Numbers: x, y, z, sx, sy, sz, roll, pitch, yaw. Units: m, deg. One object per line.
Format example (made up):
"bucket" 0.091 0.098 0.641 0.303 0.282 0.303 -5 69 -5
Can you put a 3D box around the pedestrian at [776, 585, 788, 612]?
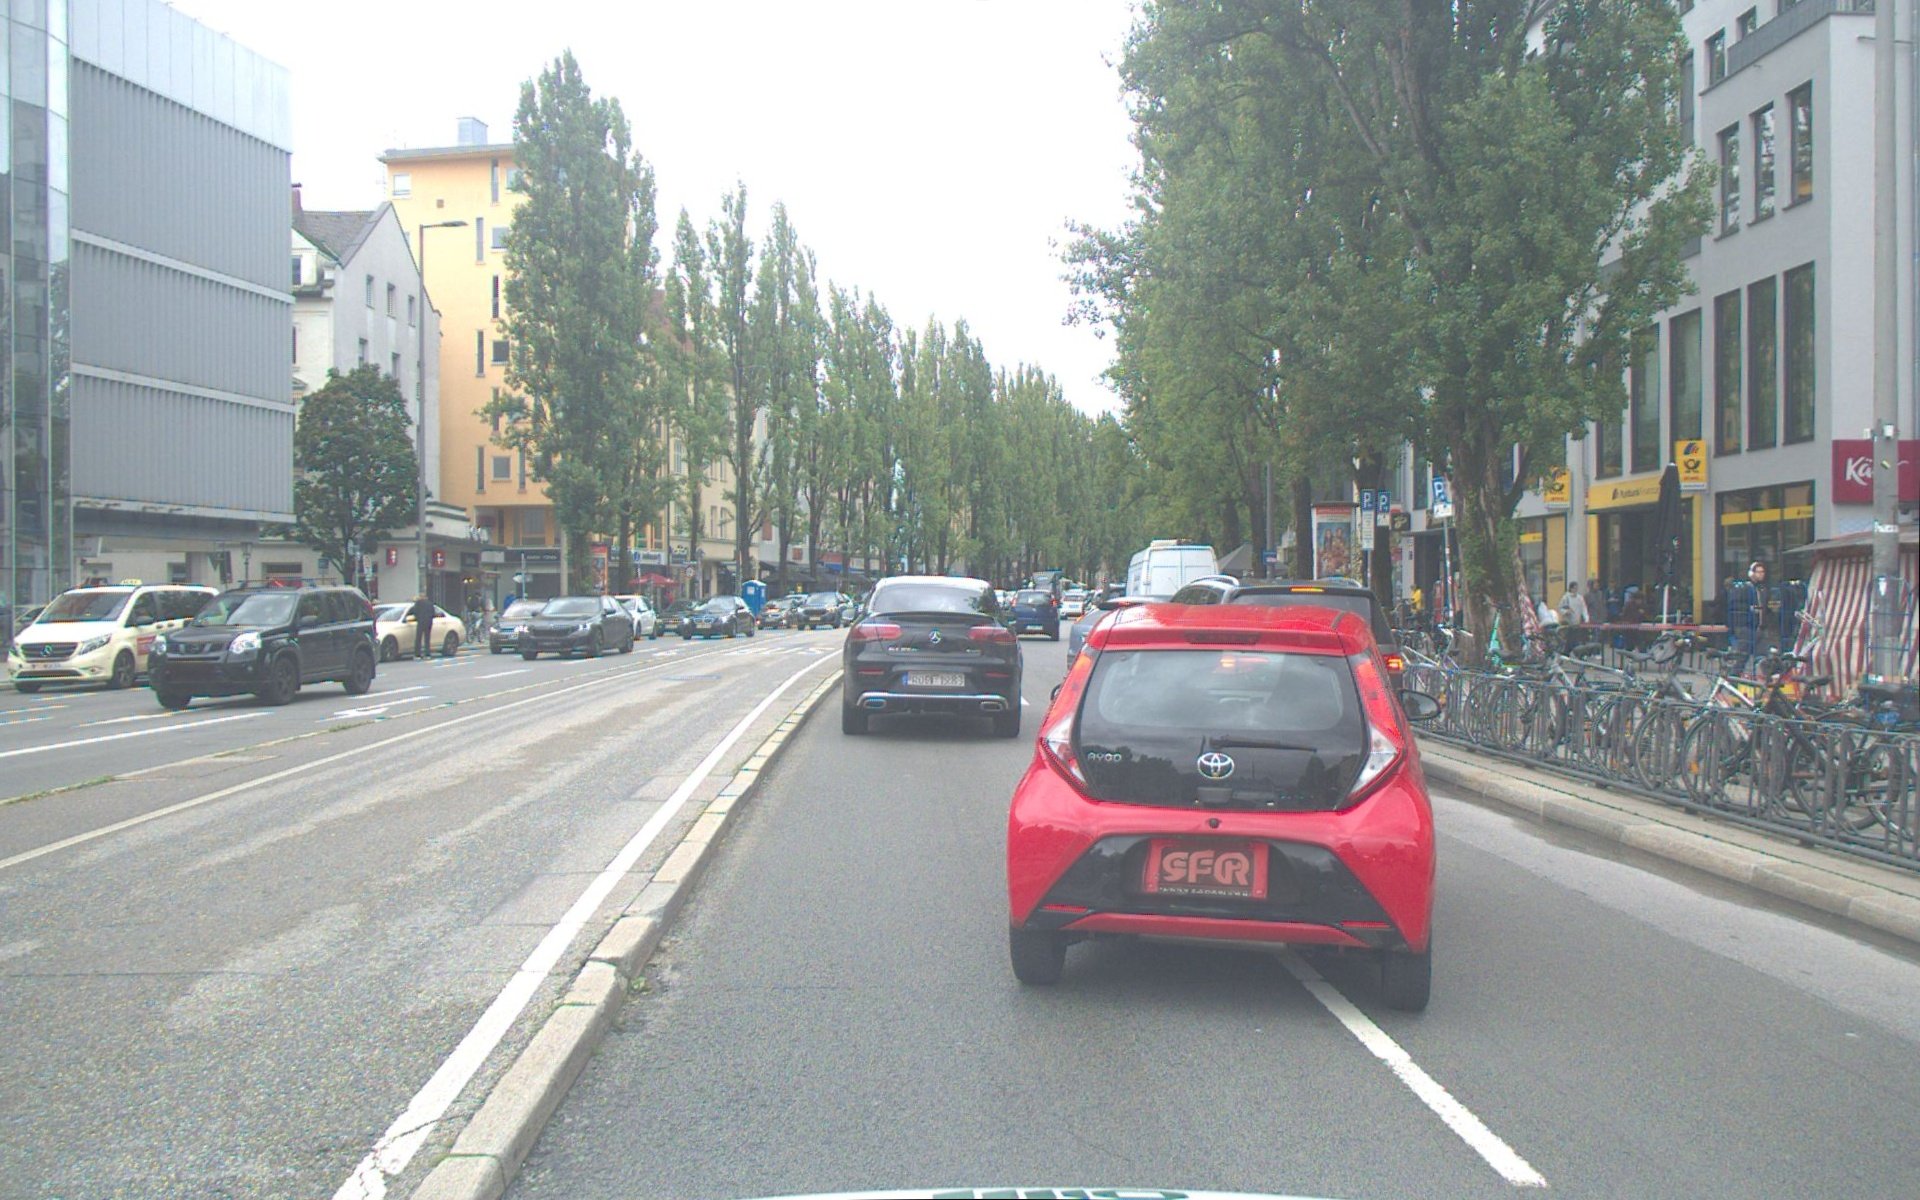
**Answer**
"pedestrian" -12.568 -0.086 116.661 0.624 1.894 0.648 -1 0 11

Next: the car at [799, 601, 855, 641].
"car" -5.841 0.905 73.038 1.952 1.649 4.414 -2 0 2

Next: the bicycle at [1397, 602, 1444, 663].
"bicycle" 9.359 0.645 33.645 0.468 1.180 1.633 0 0 -1

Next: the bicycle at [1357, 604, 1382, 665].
"bicycle" 8.335 0.688 33.641 0.467 1.180 1.826 0 0 15

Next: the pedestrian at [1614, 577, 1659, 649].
"pedestrian" 15.316 0.282 37.480 0.677 1.612 0.772 -1 0 -2

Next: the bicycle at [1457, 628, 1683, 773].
"bicycle" 5.281 0.847 14.391 1.767 1.072 0.366 4 2 37

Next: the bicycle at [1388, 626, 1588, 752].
"bicycle" 5.237 0.858 16.459 1.767 1.072 0.544 4 2 37

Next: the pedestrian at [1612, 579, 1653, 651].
"pedestrian" 14.312 0.324 35.217 0.636 1.502 0.757 0 -1 36

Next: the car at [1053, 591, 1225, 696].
"car" 2.810 0.639 25.432 1.514 1.486 3.430 1 0 27

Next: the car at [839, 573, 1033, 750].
"car" -0.266 0.577 18.197 1.842 1.670 4.582 -1 0 -1

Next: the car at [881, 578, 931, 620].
"car" -3.542 -0.074 109.690 2.123 2.651 6.069 -1 0 10

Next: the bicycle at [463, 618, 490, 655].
"bicycle" -16.444 1.238 56.242 0.360 1.222 1.155 -1 0 12

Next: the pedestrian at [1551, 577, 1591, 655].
"pedestrian" 12.827 0.331 34.712 0.628 1.611 0.635 -1 0 6

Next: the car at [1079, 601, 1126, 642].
"car" 6.389 0.936 73.782 1.884 1.730 4.653 1 0 7

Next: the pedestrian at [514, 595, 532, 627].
"pedestrian" -20.731 0.520 78.454 0.620 1.460 0.778 -1 0 -2

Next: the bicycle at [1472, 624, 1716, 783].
"bicycle" 5.250 0.825 13.753 1.767 1.124 0.544 4 2 37

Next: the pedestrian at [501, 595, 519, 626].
"pedestrian" -21.336 0.509 78.411 0.620 1.460 0.778 -1 0 -2

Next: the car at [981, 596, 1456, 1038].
"car" 1.286 0.752 7.548 1.629 1.471 3.599 1 0 13

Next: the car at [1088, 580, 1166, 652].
"car" 4.561 0.407 45.651 1.889 1.836 4.781 1 0 3

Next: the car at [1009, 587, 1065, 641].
"car" 2.481 0.451 53.763 1.723 1.648 3.747 1 0 2

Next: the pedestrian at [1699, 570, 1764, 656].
"pedestrian" 15.408 0.251 33.047 0.783 1.665 1.023 -1 0 -2

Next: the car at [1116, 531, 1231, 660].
"car" 4.929 -0.085 38.916 1.953 2.789 5.554 1 0 0

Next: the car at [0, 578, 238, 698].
"car" -15.959 0.653 31.506 1.952 2.049 5.322 -1 0 1

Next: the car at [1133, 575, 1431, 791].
"car" 2.691 0.627 14.757 1.725 1.642 4.182 0 0 -2

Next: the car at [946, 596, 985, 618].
"car" 0.408 0.452 112.966 1.761 1.419 4.695 -1 0 11

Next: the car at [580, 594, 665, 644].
"car" -11.669 0.614 57.452 1.952 1.628 4.290 -1 0 1

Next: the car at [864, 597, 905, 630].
"car" -3.954 0.687 87.256 1.780 1.572 4.001 -3 0 2

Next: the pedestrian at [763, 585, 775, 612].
"pedestrian" -13.468 -0.097 116.669 0.624 1.894 0.648 -1 0 11

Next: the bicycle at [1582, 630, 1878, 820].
"bicycle" 5.387 0.838 11.637 1.767 1.124 0.544 4 2 37

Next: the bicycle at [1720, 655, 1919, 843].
"bicycle" 5.702 0.927 10.195 1.767 1.028 0.384 4 2 37

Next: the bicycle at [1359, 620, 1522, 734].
"bicycle" 5.161 0.806 17.801 1.545 1.072 0.544 4 2 37

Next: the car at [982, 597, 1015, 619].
"car" 2.908 0.584 123.868 1.869 1.631 4.359 -1 0 10

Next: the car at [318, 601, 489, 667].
"car" -14.527 0.847 43.537 1.817 1.495 4.986 -3 0 14

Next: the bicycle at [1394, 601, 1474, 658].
"bicycle" 10.049 0.626 35.097 1.593 1.180 0.705 0 0 11

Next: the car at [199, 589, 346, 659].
"car" -21.453 0.687 51.846 1.951 2.049 5.116 -1 0 7

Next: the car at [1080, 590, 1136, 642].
"car" 5.074 0.532 57.057 1.691 1.716 4.409 0 0 2

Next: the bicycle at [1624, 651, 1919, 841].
"bicycle" 5.378 0.925 10.933 1.770 1.028 0.384 5 2 41

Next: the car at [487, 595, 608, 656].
"car" -11.702 0.688 47.255 1.918 1.573 4.950 -1 0 3

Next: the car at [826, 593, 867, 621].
"car" -6.563 0.391 96.002 1.912 1.617 4.001 -1 0 3

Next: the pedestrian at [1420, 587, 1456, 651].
"pedestrian" 13.286 0.514 45.964 0.707 1.754 0.737 -1 0 36

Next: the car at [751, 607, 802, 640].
"car" -8.891 1.135 80.296 1.746 1.491 4.002 -1 0 4

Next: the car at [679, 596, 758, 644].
"car" -8.294 0.652 57.226 1.797 1.513 4.736 -1 0 3

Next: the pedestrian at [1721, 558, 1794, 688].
"pedestrian" 11.448 0.325 23.757 0.776 1.827 0.572 1 -1 4

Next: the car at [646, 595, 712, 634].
"car" -11.024 0.557 65.219 1.693 1.433 4.688 -1 0 1

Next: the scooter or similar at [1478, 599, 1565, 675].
"scooter or similar" 9.452 0.607 27.818 1.443 1.228 0.398 -1 0 -20

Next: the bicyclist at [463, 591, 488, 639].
"bicyclist" -16.468 0.502 56.238 0.491 1.620 0.835 -1 0 11

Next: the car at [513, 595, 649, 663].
"car" -9.312 0.676 41.089 1.952 1.534 5.024 -1 0 3

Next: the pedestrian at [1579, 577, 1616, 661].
"pedestrian" 13.428 0.396 34.864 0.567 1.731 0.597 -1 0 6

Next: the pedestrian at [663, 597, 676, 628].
"pedestrian" -16.706 0.712 95.061 0.527 1.777 0.756 0 0 11

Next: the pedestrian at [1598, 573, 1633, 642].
"pedestrian" 16.202 0.188 40.903 0.676 1.678 0.799 -1 0 14

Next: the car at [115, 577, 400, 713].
"car" -10.212 0.592 24.482 1.951 1.808 4.602 -1 0 4

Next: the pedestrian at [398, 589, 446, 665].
"pedestrian" -13.743 0.686 42.262 0.771 1.900 0.845 -1 0 28

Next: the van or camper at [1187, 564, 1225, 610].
"van or camper" 17.699 -0.932 118.773 2.407 3.166 4.720 -1 0 12
